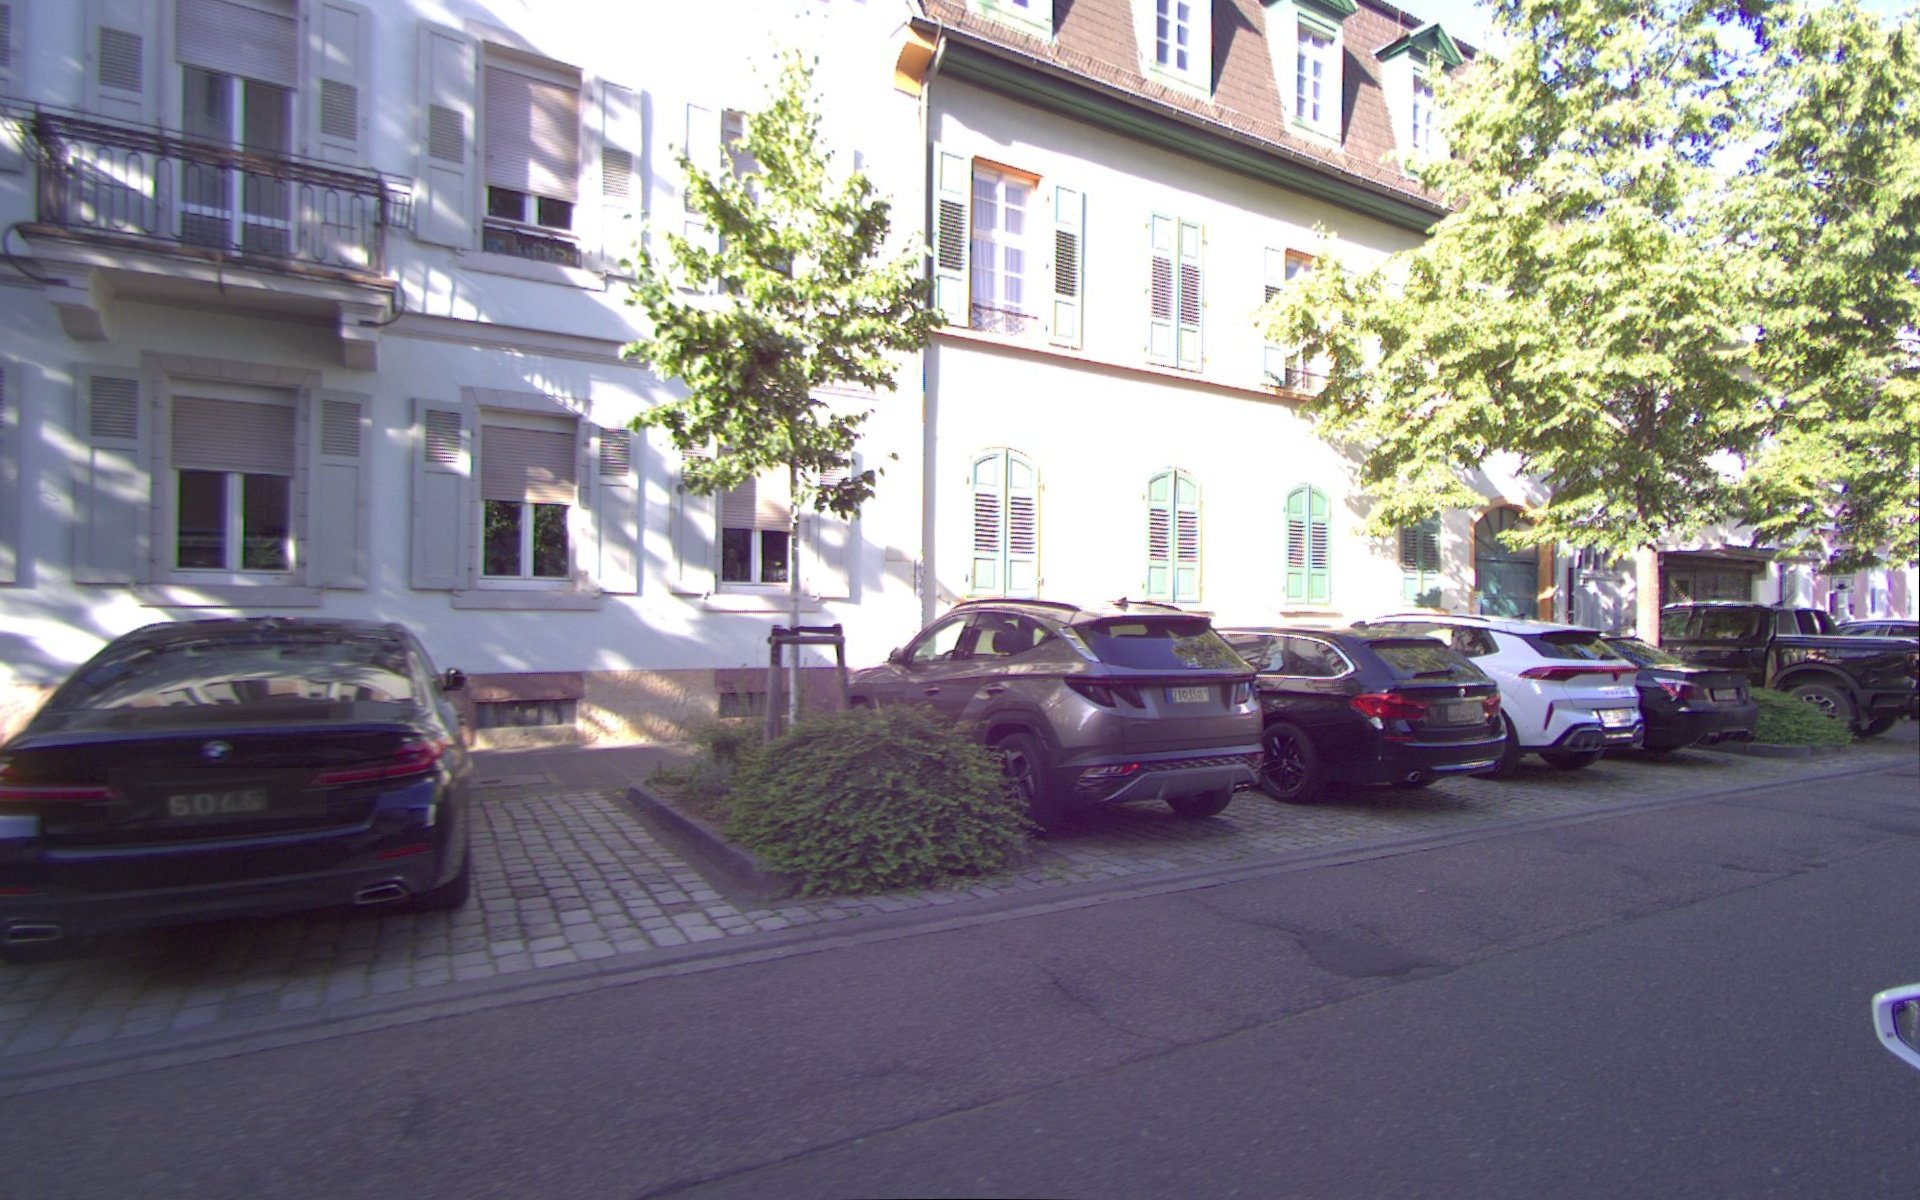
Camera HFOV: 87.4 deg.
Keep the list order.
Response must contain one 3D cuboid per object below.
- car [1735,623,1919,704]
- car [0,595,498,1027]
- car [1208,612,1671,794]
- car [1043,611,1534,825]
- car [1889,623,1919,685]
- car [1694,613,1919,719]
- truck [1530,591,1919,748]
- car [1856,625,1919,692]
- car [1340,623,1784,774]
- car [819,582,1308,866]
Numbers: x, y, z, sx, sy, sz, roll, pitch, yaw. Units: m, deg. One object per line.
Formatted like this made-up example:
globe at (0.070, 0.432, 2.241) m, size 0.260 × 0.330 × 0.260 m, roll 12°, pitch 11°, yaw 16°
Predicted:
car at (18.620, 1.248, 20.078) m, size 1.786 × 1.483 × 4.661 m, roll 1°, pitch -1°, yaw -28°
car at (-3.717, 0.743, 5.834) m, size 1.662 × 1.478 × 4.628 m, roll 1°, pitch -1°, yaw -27°
car at (5.138, 0.971, 11.537) m, size 1.786 × 1.593 × 4.661 m, roll 1°, pitch -1°, yaw -28°
car at (2.843, 0.913, 9.900) m, size 1.786 × 1.539 × 4.661 m, roll 1°, pitch -1°, yaw -28°
car at (24.938, 1.325, 23.342) m, size 1.789 × 1.484 × 4.653 m, roll 1°, pitch -1°, yaw -33°
car at (16.027, 1.110, 17.736) m, size 1.786 × 1.716 × 4.661 m, roll 1°, pitch -1°, yaw -28°
truck at (11.608, 0.932, 15.044) m, size 1.977 × 1.964 × 5.060 m, roll 1°, pitch -2°, yaw -30°
car at (22.846, 1.333, 21.893) m, size 1.789 × 1.484 × 4.653 m, roll 1°, pitch -1°, yaw -33°
car at (7.386, 1.092, 12.923) m, size 1.786 × 1.482 × 4.661 m, roll 1°, pitch -1°, yaw -28°
car at (0.513, 0.781, 8.635) m, size 1.787 × 1.735 × 4.658 m, roll 1°, pitch -1°, yaw -30°
